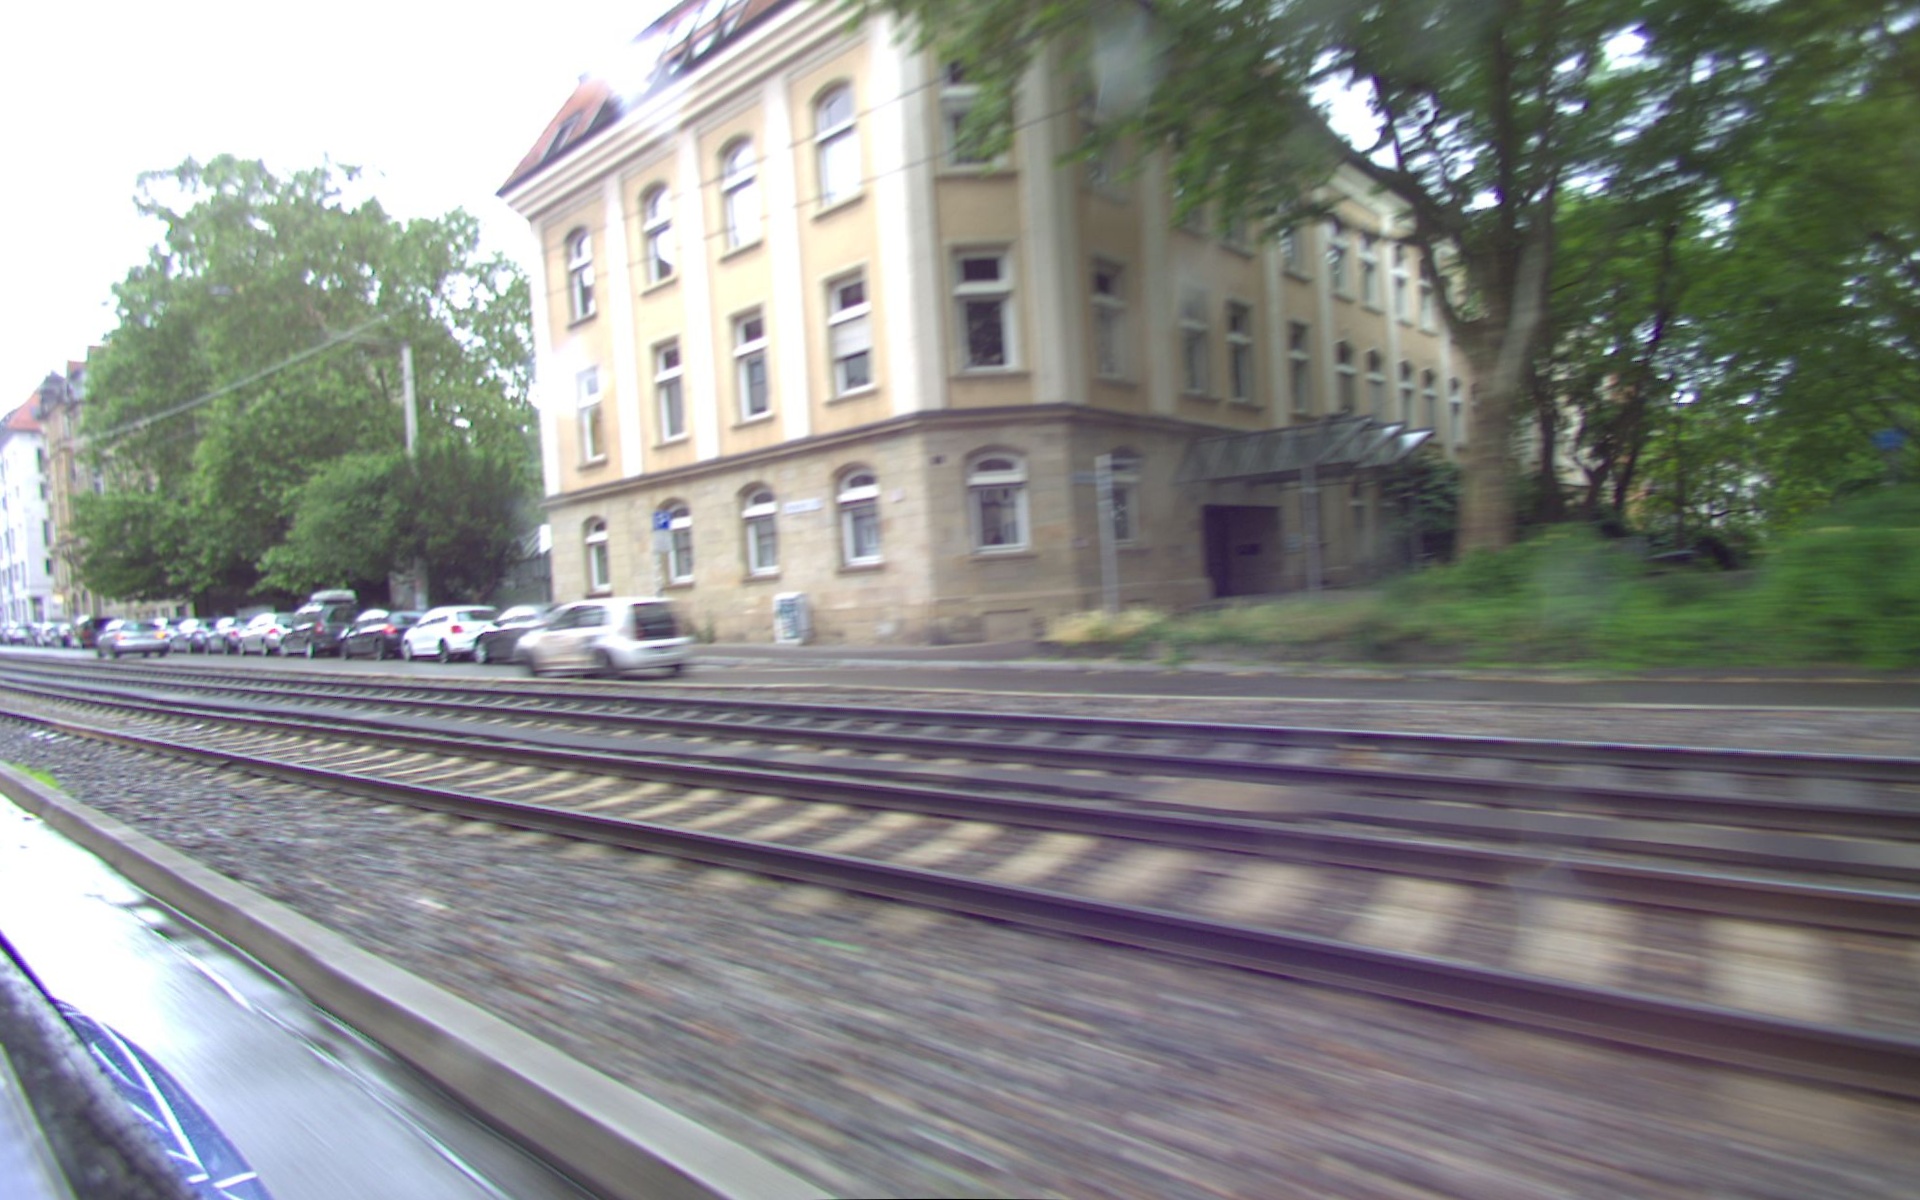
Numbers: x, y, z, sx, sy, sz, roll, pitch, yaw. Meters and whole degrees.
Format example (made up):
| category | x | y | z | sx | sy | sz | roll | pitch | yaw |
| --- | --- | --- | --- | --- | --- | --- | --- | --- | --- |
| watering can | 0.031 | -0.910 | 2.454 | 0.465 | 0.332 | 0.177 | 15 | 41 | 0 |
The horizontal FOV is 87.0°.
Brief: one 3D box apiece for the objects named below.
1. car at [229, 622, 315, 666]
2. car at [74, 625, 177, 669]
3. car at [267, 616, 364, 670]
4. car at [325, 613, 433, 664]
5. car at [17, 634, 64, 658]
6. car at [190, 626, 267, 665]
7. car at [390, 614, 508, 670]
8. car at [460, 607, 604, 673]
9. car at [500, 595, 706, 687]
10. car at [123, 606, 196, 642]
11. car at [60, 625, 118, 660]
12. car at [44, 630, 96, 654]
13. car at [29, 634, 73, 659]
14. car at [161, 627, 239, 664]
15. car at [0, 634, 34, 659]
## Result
| category | x | y | z | sx | sy | sz | roll | pitch | yaw |
| --- | --- | --- | --- | --- | --- | --- | --- | --- | --- |
| car | -25.120 | 1.578 | 36.905 | 4.150 | 1.517 | 1.524 | -2 | -1 | 40 |
| car | -32.431 | 1.809 | 39.290 | 4.621 | 1.516 | 1.802 | -2 | 1 | 34 |
| car | -21.568 | 1.408 | 33.801 | 4.068 | 1.655 | 1.561 | -2 | -1 | 40 |
| car | -17.649 | 1.142 | 30.652 | 4.008 | 1.424 | 1.657 | -2 | -1 | 42 |
| car | -63.117 | 3.130 | 69.425 | 4.166 | 1.519 | 1.852 | -1 | 0 | 40 |
| car | -28.795 | 1.771 | 39.784 | 3.949 | 1.424 | 1.524 | -2 | -1 | 40 |
| car | -13.883 | 1.110 | 27.408 | 3.985 | 1.401 | 1.484 | -2 | -1 | 42 |
| car | -10.375 | 0.953 | 24.424 | 3.849 | 1.440 | 1.598 | -2 | 0 | 40 |
| car | -6.658 | 0.746 | 18.788 | 3.775 | 1.508 | 1.645 | -2 | 1 | 34 |
| car | -36.392 | 1.086 | 45.981 | 4.539 | 1.548 | 1.736 | -2 | -1 | 40 |
| car | -49.928 | 2.427 | 57.977 | 4.814 | 1.860 | 1.782 | -2 | -1 | 40 |
| car | -54.890 | 2.560 | 62.393 | 4.265 | 1.408 | 1.745 | -2 | 0 | 39 |
| car | -59.315 | 3.027 | 66.030 | 3.852 | 1.535 | 1.677 | -2 | 0 | 41 |
| car | -32.218 | 1.900 | 42.872 | 4.149 | 1.424 | 1.737 | -2 | -1 | 40 |
| car | -71.027 | 3.465 | 75.805 | 4.310 | 1.665 | 1.841 | -2 | 1 | 39 |
